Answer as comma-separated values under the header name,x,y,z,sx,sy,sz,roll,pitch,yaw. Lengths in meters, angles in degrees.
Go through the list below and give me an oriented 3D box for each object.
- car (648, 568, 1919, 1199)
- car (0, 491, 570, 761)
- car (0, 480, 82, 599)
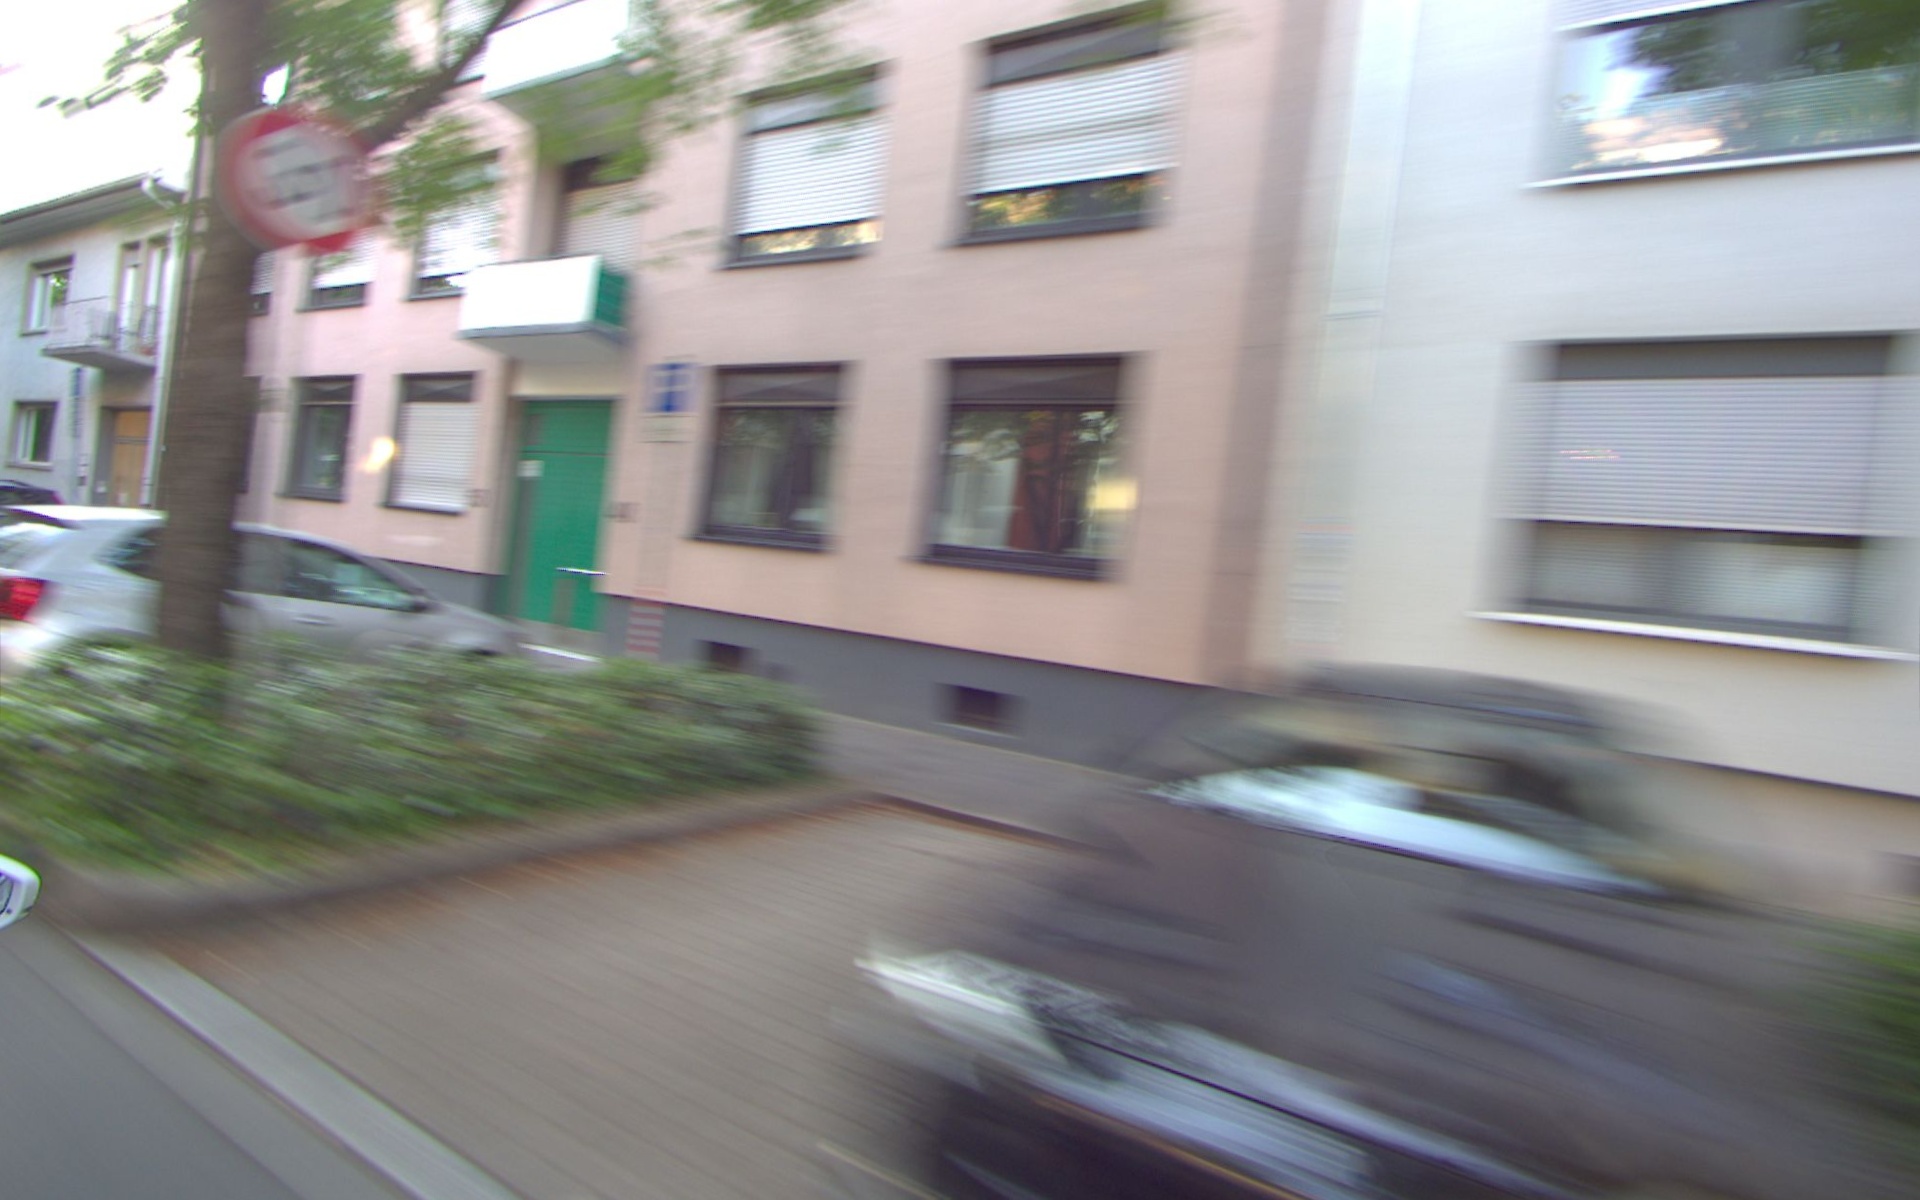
name,x,y,z,sx,sy,sz,roll,pitch,yaw
car,1.485,0.892,3.554,2.002,1.439,4.715,7,1,32
car,-5.185,0.154,7.509,1.816,1.458,3.882,7,1,29
car,-16.395,-1.195,14.853,1.918,1.731,4.723,8,0,33
